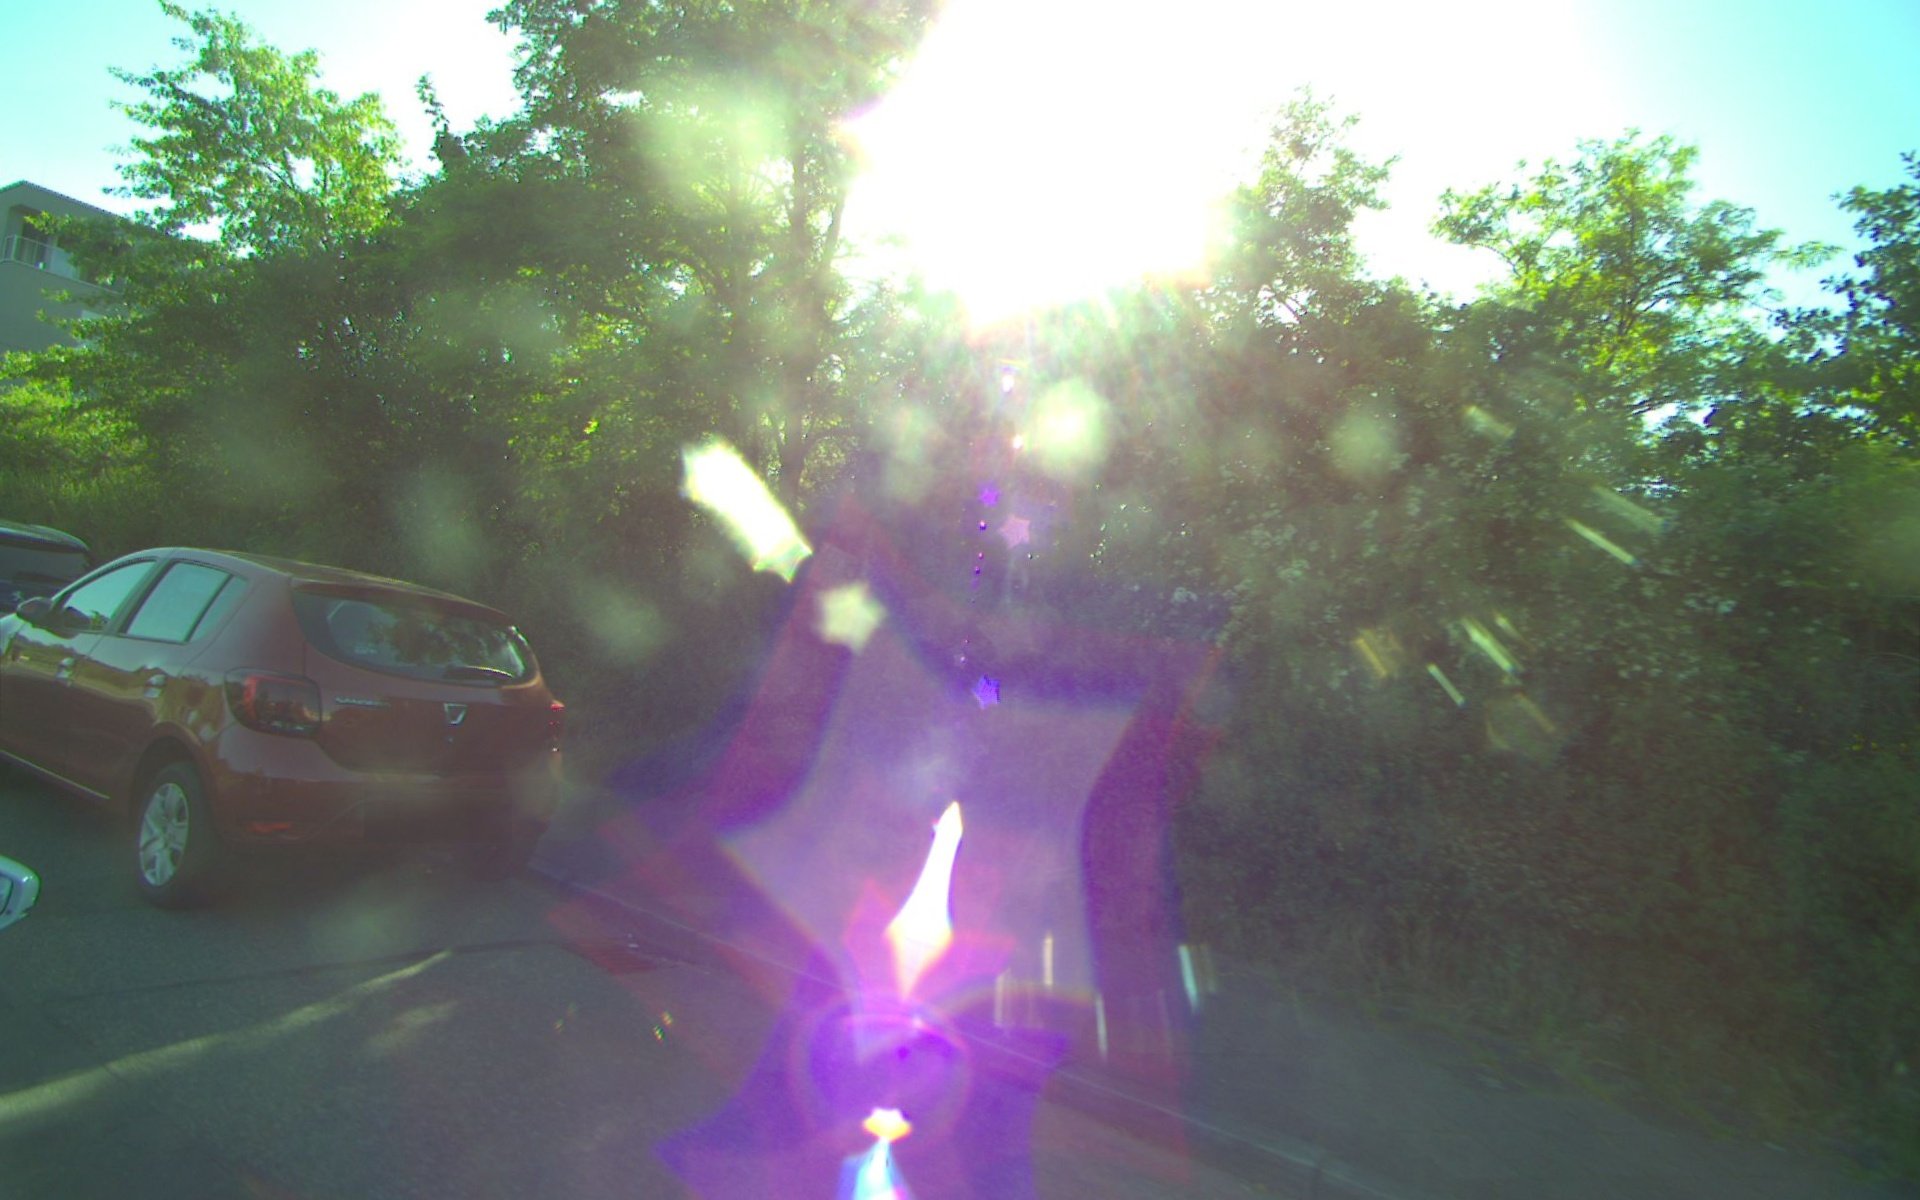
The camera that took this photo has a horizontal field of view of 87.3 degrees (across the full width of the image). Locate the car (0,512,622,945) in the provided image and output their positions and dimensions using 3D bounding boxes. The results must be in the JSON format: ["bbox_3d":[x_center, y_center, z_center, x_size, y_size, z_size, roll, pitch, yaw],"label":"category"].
[{"bbox_3d":[-3.918,0.513,5.570,3.775,1.501,1.661,7,-5,31],"label":"car"}]

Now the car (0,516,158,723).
[{"bbox_3d":[-8.920,-0.099,8.551,4.579,1.459,1.661,7,-5,32],"label":"car"}]
